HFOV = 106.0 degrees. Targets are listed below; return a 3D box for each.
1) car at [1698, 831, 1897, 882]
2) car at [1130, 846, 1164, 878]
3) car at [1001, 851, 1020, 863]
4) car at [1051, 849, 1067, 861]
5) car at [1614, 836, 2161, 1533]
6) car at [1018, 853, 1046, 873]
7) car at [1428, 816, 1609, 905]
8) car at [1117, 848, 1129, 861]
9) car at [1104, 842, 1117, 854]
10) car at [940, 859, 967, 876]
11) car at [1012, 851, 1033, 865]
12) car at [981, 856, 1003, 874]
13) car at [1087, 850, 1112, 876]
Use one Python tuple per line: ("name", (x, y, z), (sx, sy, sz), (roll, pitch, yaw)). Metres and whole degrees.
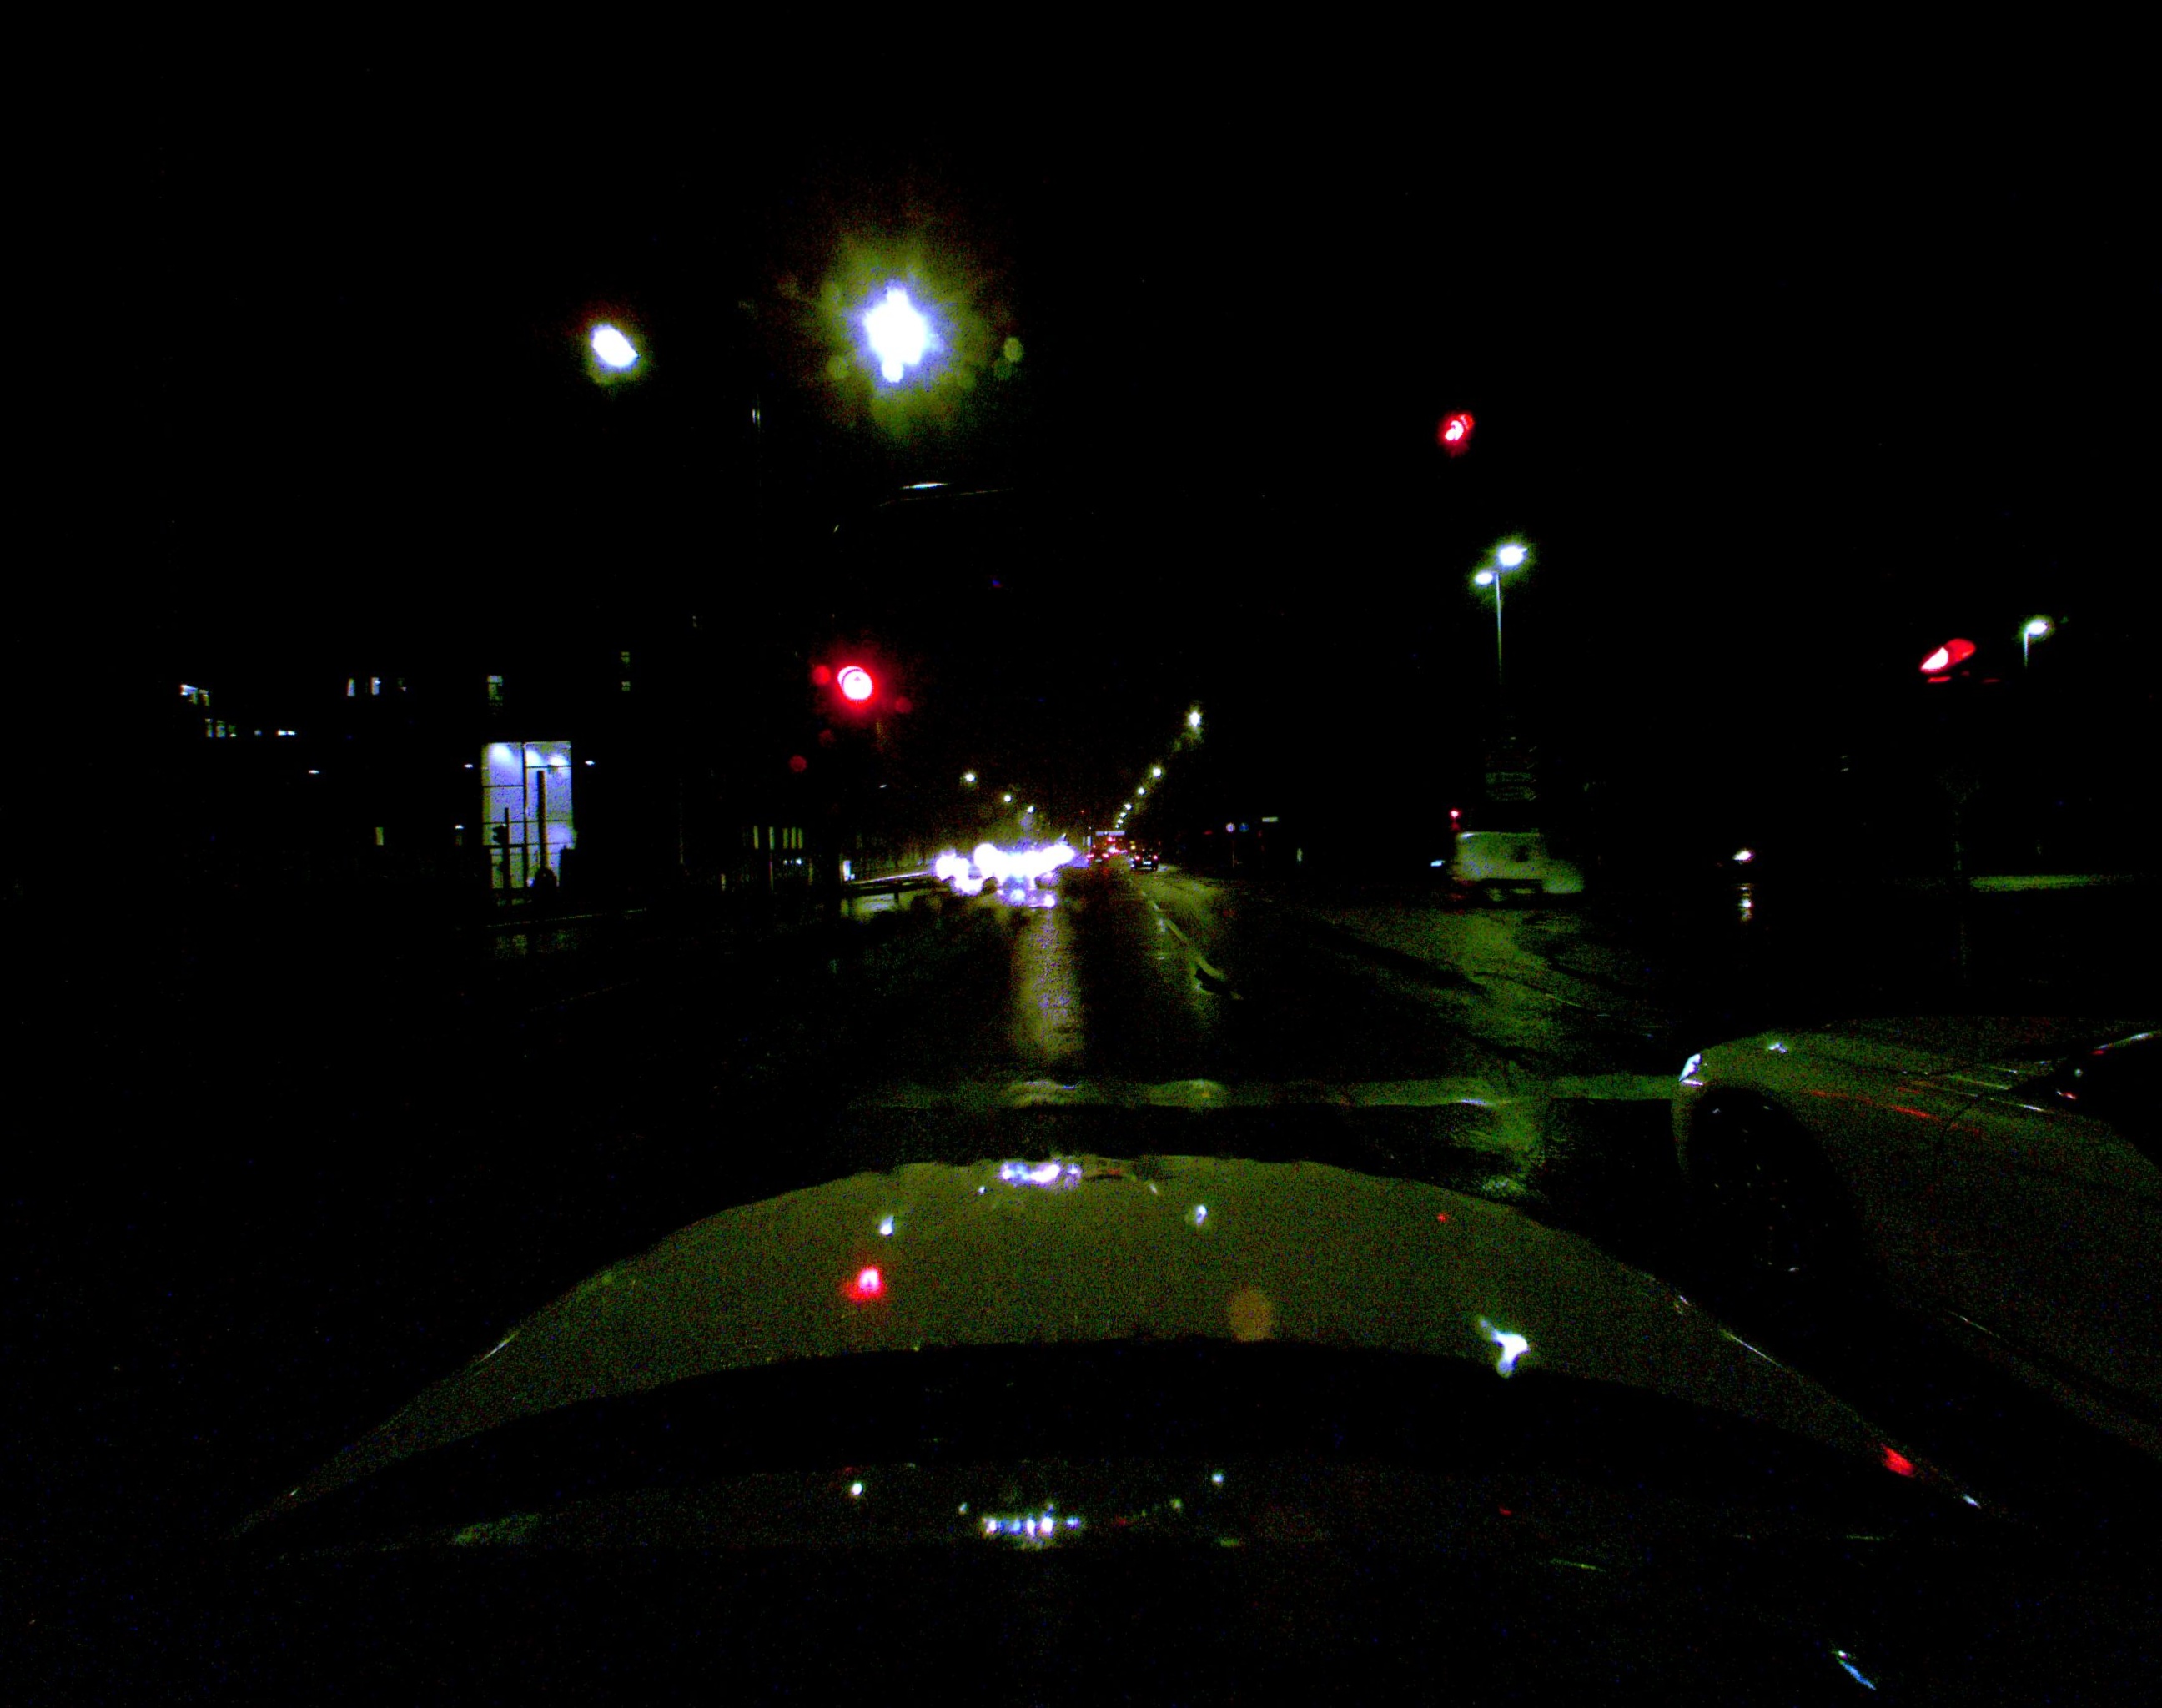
("car", (24.144, 0.096, 27.621), (4.823, 1.590, 1.857), (-1, -1, 8))
("car", (4.768, 0.561, 59.270), (2.200, 2.215, 3.644), (-1, -1, 2))
("car", (-9.144, 0.386, 105.503), (1.878, 1.552, 4.435), (-1, -1, 2))
("car", (-3.057, 0.144, 113.144), (1.878, 1.552, 4.435), (-1, -1, 2))
("car", (3.127, 0.684, 1.259), (1.714, 1.446, 4.382), (-3, -1, 1))
("car", (-4.320, 0.802, 72.029), (1.986, 1.610, 4.971), (-1, -1, 1))
("car", (10.579, 0.173, 19.955), (3.533, 2.014, 1.709), (-1, -1, 11))
("car", (6.990, 0.099, 135.300), (2.029, 2.014, 4.311), (-1, -1, 4))
("car", (6.184, -1.251, 170.951), (2.434, 2.194, 5.076), (-1, -1, -1))
("car", (-11.940, 1.238, 76.608), (1.794, 1.564, 4.001), (-1, -1, 2))
("car", (-6.545, 0.440, 91.821), (1.878, 1.552, 4.435), (-1, -1, 2))
("car", (-9.416, 1.169, 86.467), (1.744, 1.709, 4.499), (-3, -1, 1))
("car", (1.586, 0.760, 68.195), (1.986, 2.014, 4.001), (-1, -1, 2))
